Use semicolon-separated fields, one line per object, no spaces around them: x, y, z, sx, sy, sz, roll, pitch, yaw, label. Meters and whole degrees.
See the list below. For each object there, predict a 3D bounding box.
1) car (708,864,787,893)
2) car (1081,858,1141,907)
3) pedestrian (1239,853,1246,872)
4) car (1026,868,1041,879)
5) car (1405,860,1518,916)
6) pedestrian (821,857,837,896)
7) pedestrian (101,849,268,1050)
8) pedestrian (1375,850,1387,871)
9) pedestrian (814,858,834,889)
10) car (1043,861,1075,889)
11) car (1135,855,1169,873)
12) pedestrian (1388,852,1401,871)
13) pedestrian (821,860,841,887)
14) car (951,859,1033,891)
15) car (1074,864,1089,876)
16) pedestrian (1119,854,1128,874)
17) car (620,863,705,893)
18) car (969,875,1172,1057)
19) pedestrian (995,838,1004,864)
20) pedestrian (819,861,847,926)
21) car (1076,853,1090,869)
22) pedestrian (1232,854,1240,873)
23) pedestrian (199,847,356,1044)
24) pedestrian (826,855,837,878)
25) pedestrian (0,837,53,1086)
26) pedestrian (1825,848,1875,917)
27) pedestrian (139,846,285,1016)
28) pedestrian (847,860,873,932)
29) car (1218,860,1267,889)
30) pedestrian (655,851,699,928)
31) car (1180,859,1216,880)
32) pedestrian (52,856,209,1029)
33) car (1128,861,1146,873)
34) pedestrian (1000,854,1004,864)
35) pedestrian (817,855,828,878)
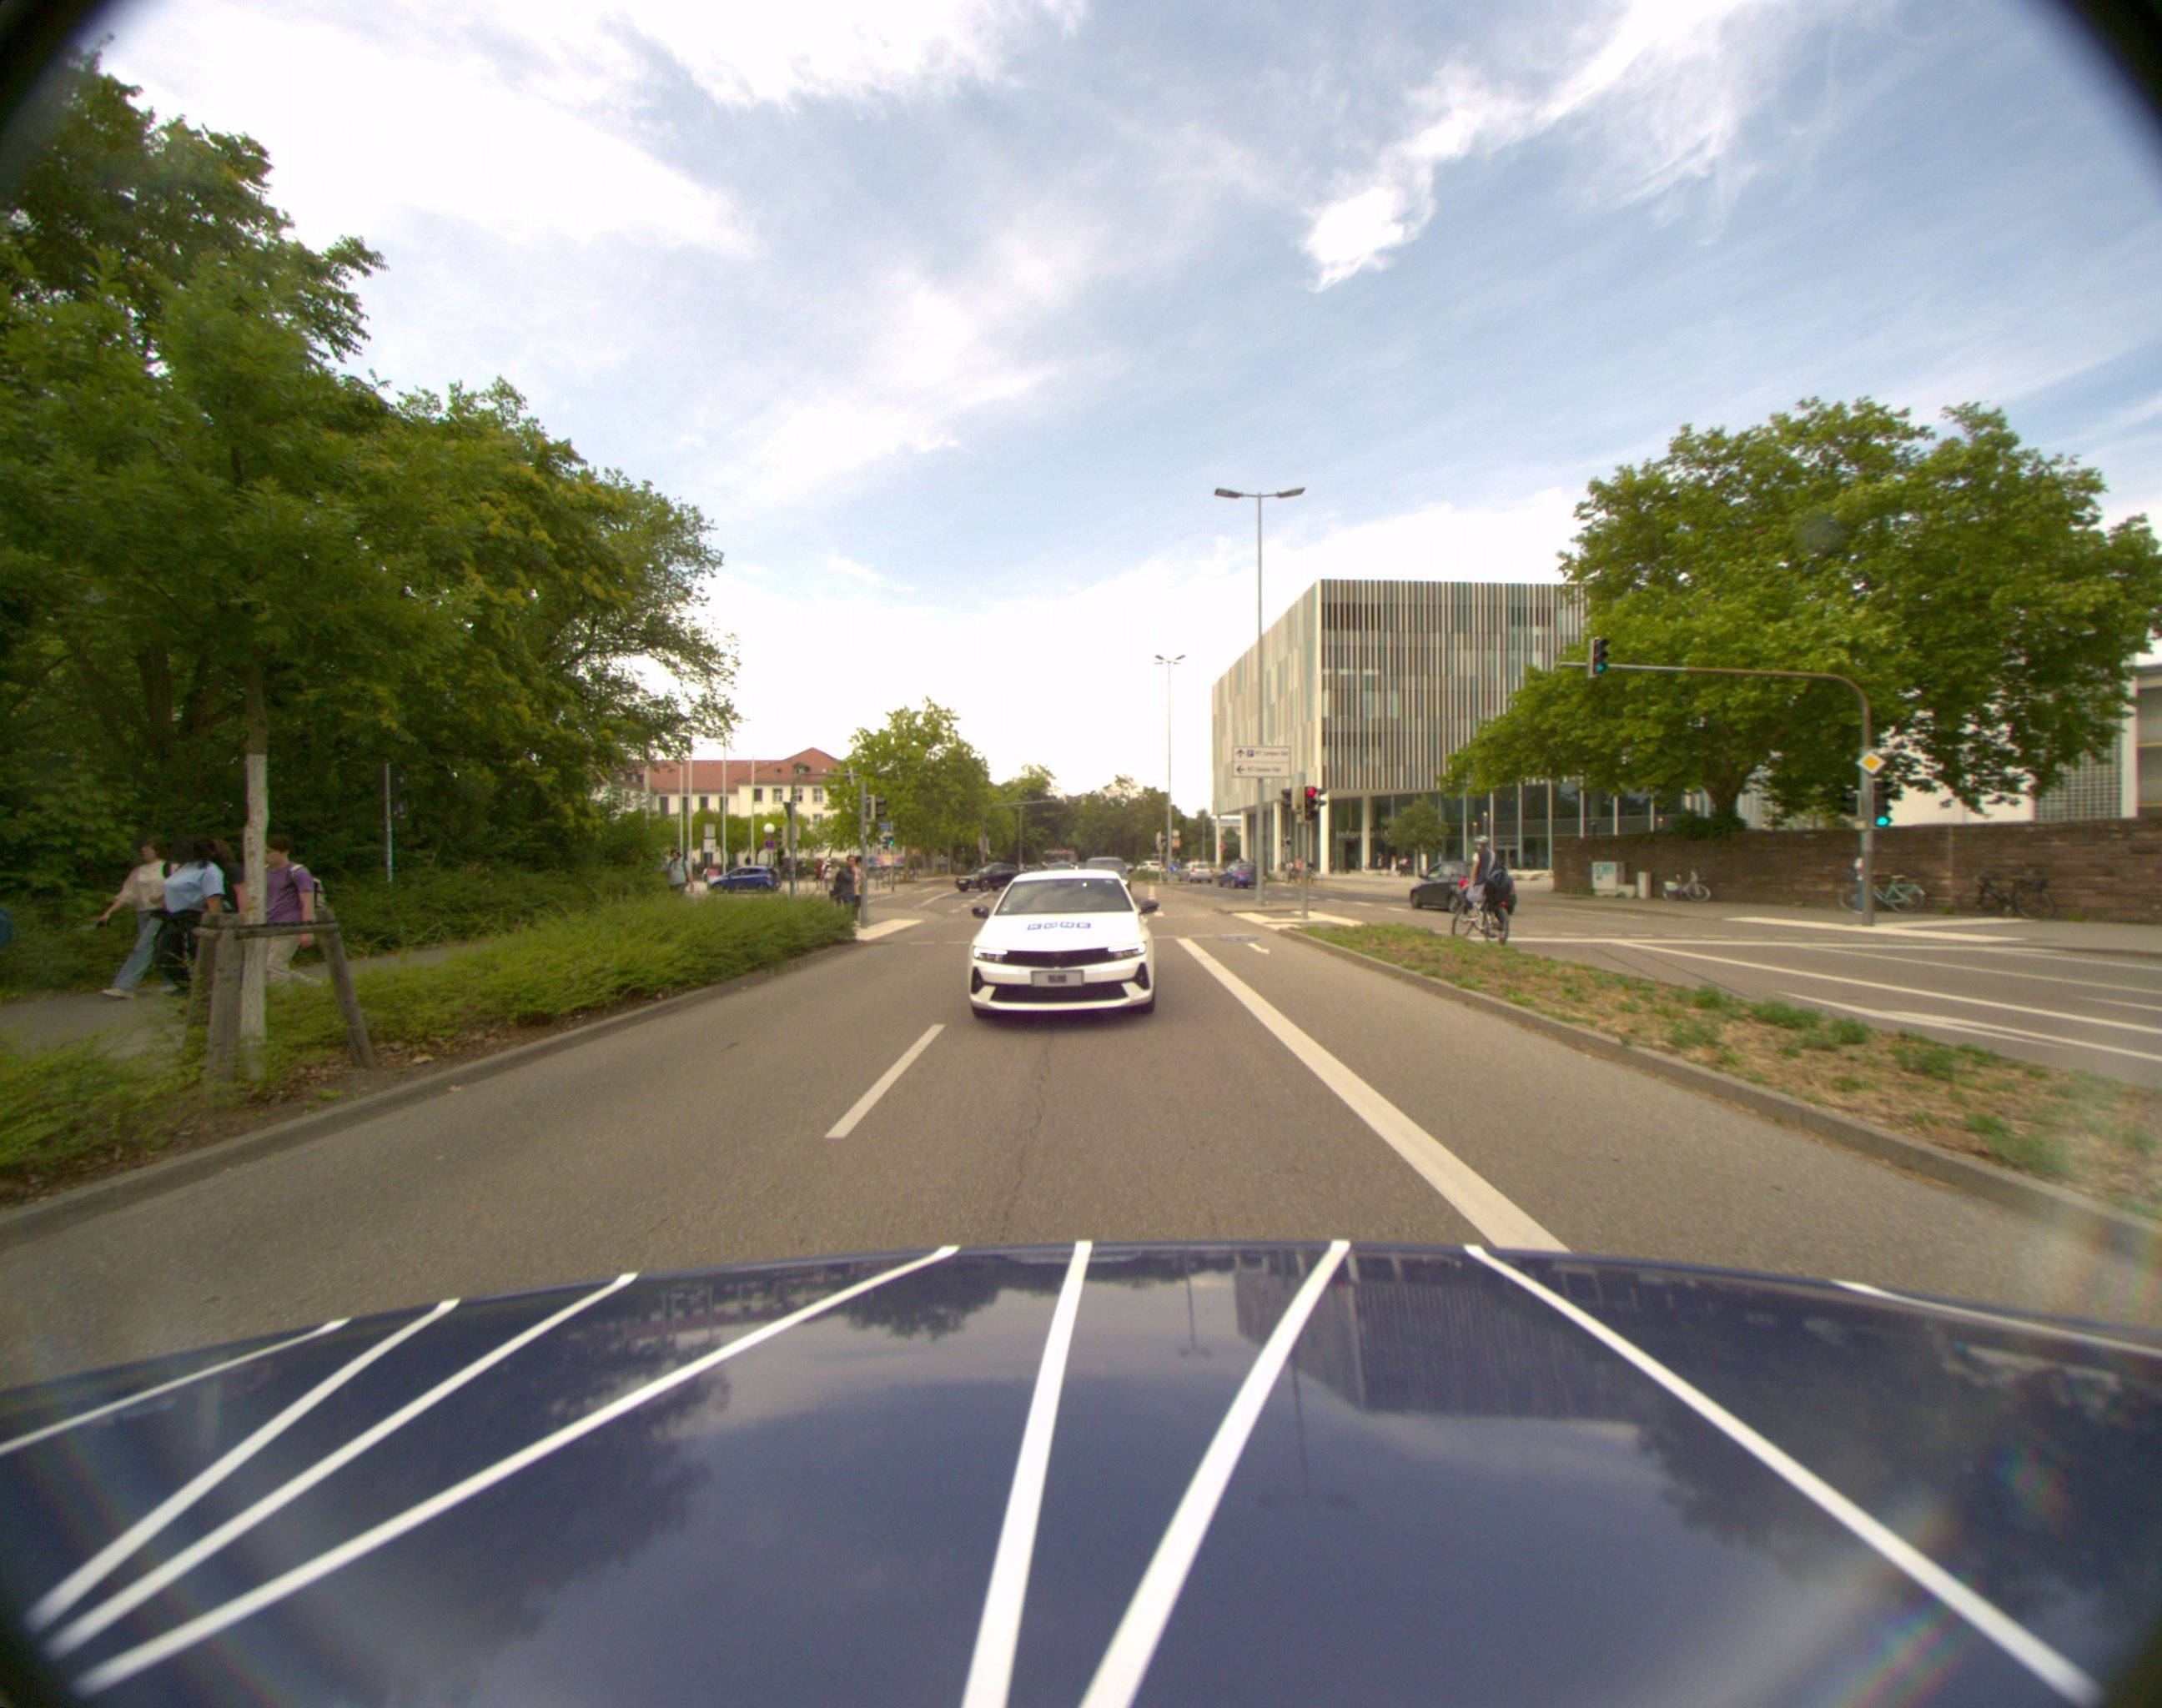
-18.284;1.339;41.804;3.581;1.483;1.674;-1;1;-3;car
1.003;0.963;27.838;1.904;1.639;4.644;-1;0;-1;car
15.474;0.840;72.732;0.512;1.826;0.624;0;-1;-3;pedestrian
-5.794;2.372;93.254;1.703;1.361;3.831;0;0;-3;car
10.943;0.924;22.151;1.575;1.480;3.637;0;0;2;car
-12.269;1.095;37.006;0.647;1.841;0.828;-2;1;-13;pedestrian
-8.169;0.825;6.961;0.582;1.735;0.789;0;0;-1;pedestrian
25.050;0.546;63.465;0.731;1.730;0.677;-1;1;-36;pedestrian
-15.008;1.133;44.346;0.769;1.794;0.892;-2;0;3;pedestrian
-1.287;1.156;42.821;1.703;1.485;3.831;0;0;-3;car
6.849;0.943;73.790;1.871;1.642;4.416;0;0;-14;car
25.974;0.623;62.910;0.731;1.591;0.677;-1;1;-33;pedestrian
-16.412;1.274;49.851;0.953;1.698;0.702;-2;1;17;pedestrian
-4.852;1.141;41.706;4.184;1.547;1.800;-2;0;-44;car
0.096;2.078;99.565;1.661;1.455;3.998;3;0;-3;car
3.820;0.912;68.597;0.727;1.842;1.064;-1;0;-4;pedestrian
-22.969;1.315;41.797;3.693;1.558;1.674;-1;1;-3;car
-0.197;1.032;8.954;1.745;1.430;4.781;0;0;-3;car
-5.582;-0.195;52.057;0.574;1.806;0.682;-1;0;1;pedestrian
-6.605;1.041;20.273;0.547;1.677;0.637;0;0;-1;pedestrian
0.247;0.938;99.610;1.839;2.002;4.000;0;0;0;car
14.839;0.910;72.698;0.512;1.826;0.772;0;-1;-3;pedestrian
-7.431;0.806;7.067;0.626;1.735;0.780;0;0;-1;pedestrian
-21.600;1.072;65.869;0.687;1.951;0.601;-2;1;-42;pedestrian
-7.860;0.751;5.166;0.658;1.735;0.780;0;0;-1;pedestrian
20.564;0.737;20.322;0.748;1.772;0.782;-2;2;-34;pedestrian
-9.284;0.788;8.149;0.658;1.735;0.780;0;0;-1;pedestrian
-5.412;1.024;18.610;0.455;1.725;0.637;0;0;-1;pedestrian
9.260;1.151;43.865;1.806;1.503;4.102;0;1;-2;car
-9.547;0.827;17.981;0.646;1.785;0.740;0;0;-1;pedestrian
8.479;1.084;55.202;1.806;1.480;4.288;0;0;-2;car
-9.989;0.891;8.021;0.658;1.735;0.780;0;0;-1;pedestrian
7.243;1.681;98.617;1.766;1.480;4.545;0;0;-2;car
-12.868;0.860;123.650;0.646;1.556;0.804;0;0;-4;pedestrian
-22.219;1.092;65.271;0.687;1.951;0.601;-2;1;-42;pedestrian
